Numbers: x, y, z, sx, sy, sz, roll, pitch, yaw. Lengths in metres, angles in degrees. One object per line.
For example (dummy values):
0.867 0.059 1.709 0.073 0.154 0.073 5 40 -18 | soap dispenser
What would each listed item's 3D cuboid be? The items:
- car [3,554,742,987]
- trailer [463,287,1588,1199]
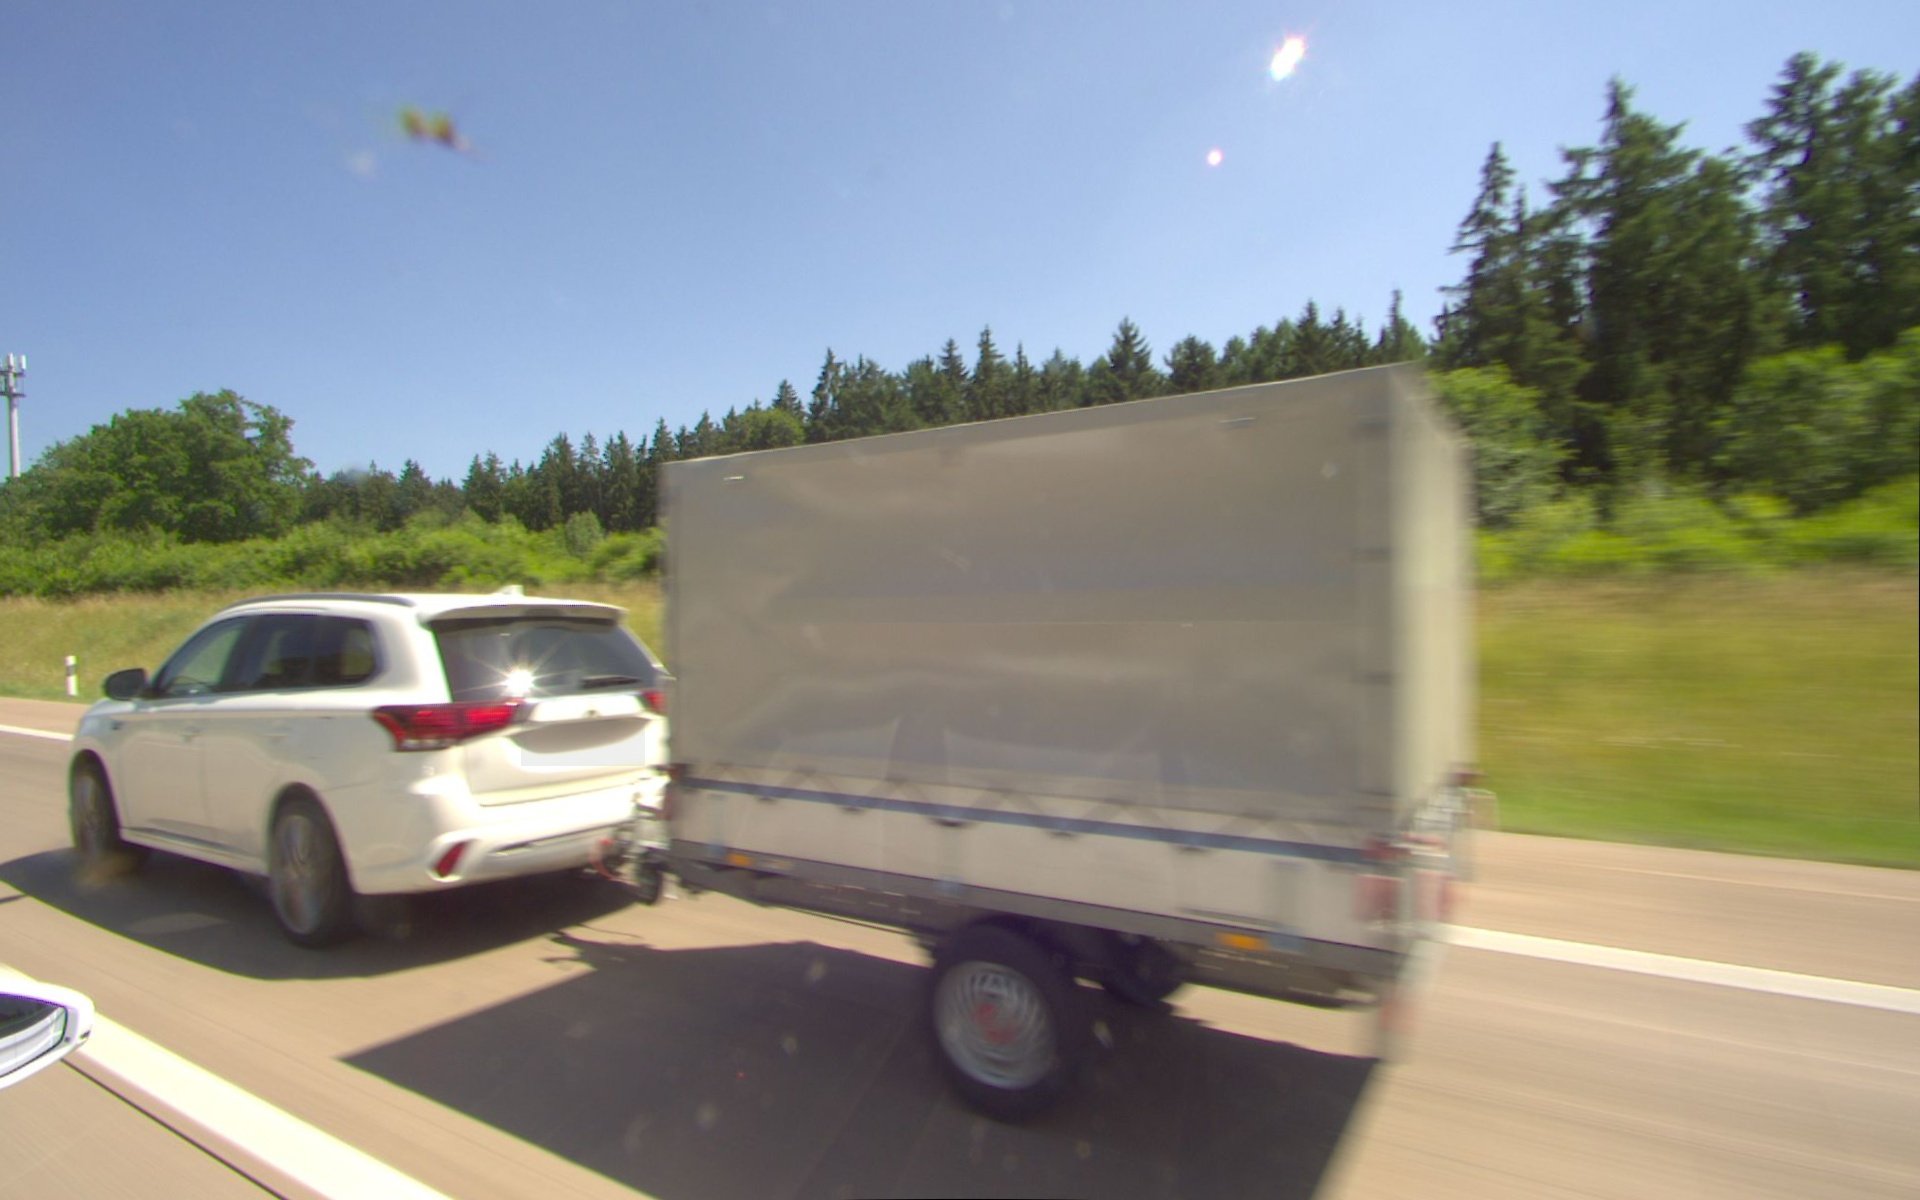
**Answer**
-3.882 0.761 6.242 5.113 1.750 1.887 -1 -1 33 | car
0.034 0.502 3.784 3.959 2.192 1.654 0 -1 33 | trailer
